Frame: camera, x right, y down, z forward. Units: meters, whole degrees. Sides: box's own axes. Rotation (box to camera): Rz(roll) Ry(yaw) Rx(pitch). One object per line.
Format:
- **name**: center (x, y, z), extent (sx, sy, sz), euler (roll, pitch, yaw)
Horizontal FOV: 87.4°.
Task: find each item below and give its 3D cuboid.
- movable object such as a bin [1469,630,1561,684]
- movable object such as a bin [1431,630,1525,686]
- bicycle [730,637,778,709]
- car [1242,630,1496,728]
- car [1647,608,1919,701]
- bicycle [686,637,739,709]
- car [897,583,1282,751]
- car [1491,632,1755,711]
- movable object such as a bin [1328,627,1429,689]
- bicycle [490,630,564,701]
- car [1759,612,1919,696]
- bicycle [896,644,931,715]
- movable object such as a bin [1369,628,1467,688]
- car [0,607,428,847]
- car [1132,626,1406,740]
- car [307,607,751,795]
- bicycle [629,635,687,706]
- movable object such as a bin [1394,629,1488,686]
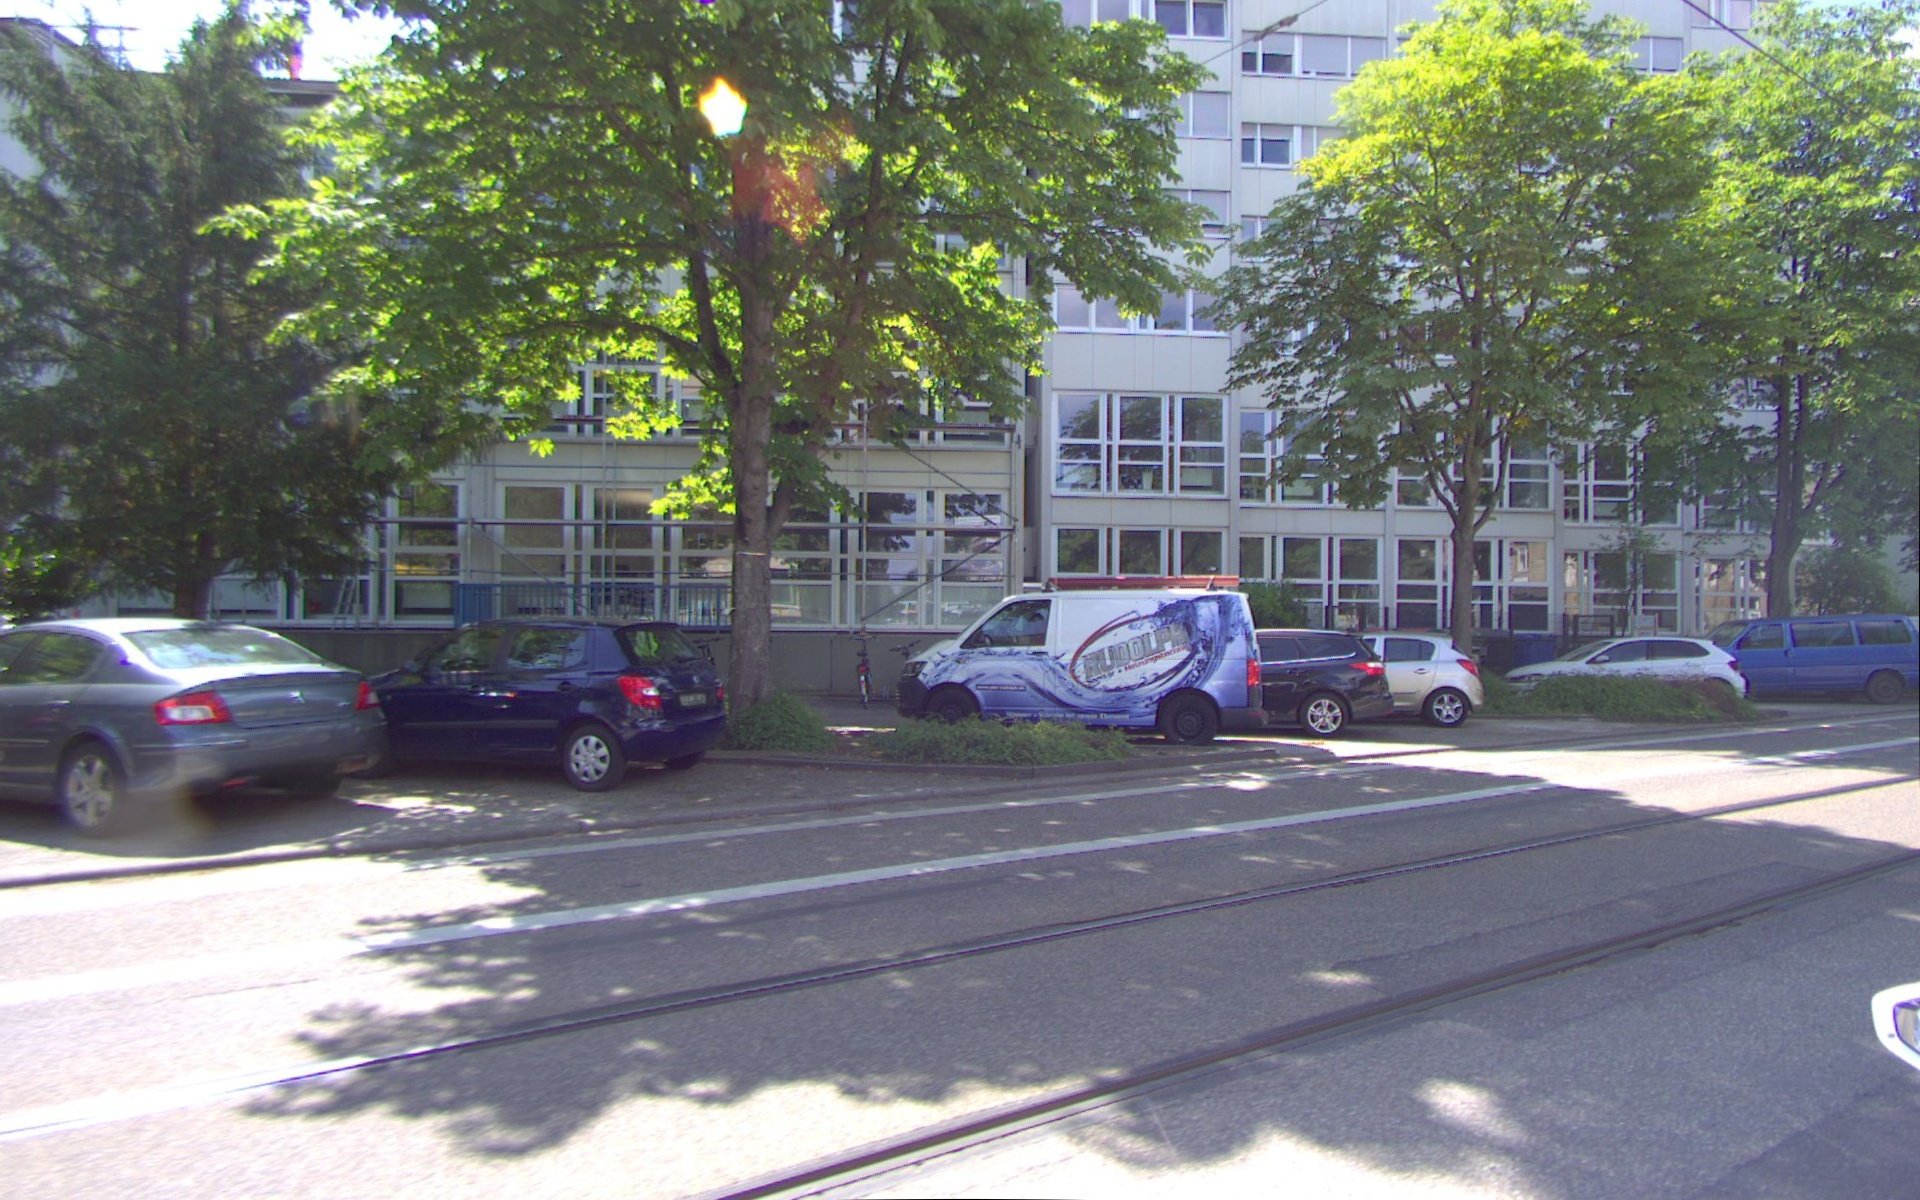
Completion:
- **movable object such as a bin**: center (15.178, 1.536, 27.501), extent (1.407, 1.428, 1.754), euler (1, -2, -30)
- **movable object such as a bin**: center (13.839, 1.527, 26.877), extent (1.407, 1.428, 1.754), euler (1, -2, -30)
- **bicycle**: center (-3.610, 1.249, 17.695), extent (0.547, 1.089, 2.135), euler (1, 0, -4)
- **car**: center (6.554, 1.258, 16.520), extent (3.635, 1.486, 1.764), euler (-1, -3, 15)
- **car**: center (18.719, 1.244, 22.906), extent (4.636, 1.981, 1.848), euler (-1, -2, 14)
- **bicycle**: center (-4.307, 1.241, 17.600), extent (0.547, 1.089, 2.135), euler (1, 0, -4)
- **car**: center (1.685, 0.857, 13.185), extent (4.660, 1.960, 1.923), euler (-1, -3, 13)
- **car**: center (12.933, 1.429, 19.850), extent (3.919, 1.452, 1.764), euler (-1, -4, 12)
- **movable object such as a bin**: center (10.155, 1.380, 24.419), extent (1.472, 1.428, 1.754), euler (1, -2, -30)
- **bicycle**: center (-7.468, 1.095, 17.403), extent (0.547, 1.089, 2.016), euler (1, 0, -4)
- **car**: center (24.017, 1.396, 26.086), extent (4.670, 2.089, 2.026), euler (-1, -2, 21)
- **bicycle**: center (-0.860, 1.387, 18.011), extent (0.547, 1.089, 2.135), euler (1, 0, -4)
- **movable object such as a bin**: center (11.466, 1.426, 25.197), extent (1.407, 1.428, 1.754), euler (1, -2, -30)
- **car**: center (-6.597, 0.873, 7.969), extent (4.120, 1.526, 1.875), euler (-1, -2, 19)
- **car**: center (4.451, 1.185, 14.844), extent (3.634, 1.526, 1.819), euler (-1, -3, 14)
- **car**: center (-4.050, 0.894, 9.639), extent (3.634, 1.564, 1.693), euler (-1, -2, 15)
- **bicycle**: center (-5.305, 1.209, 17.720), extent (0.547, 1.089, 2.016), euler (1, 0, -4)
- **movable object such as a bin**: center (12.536, 1.480, 26.218), extent (1.407, 1.428, 1.754), euler (1, -2, -30)
